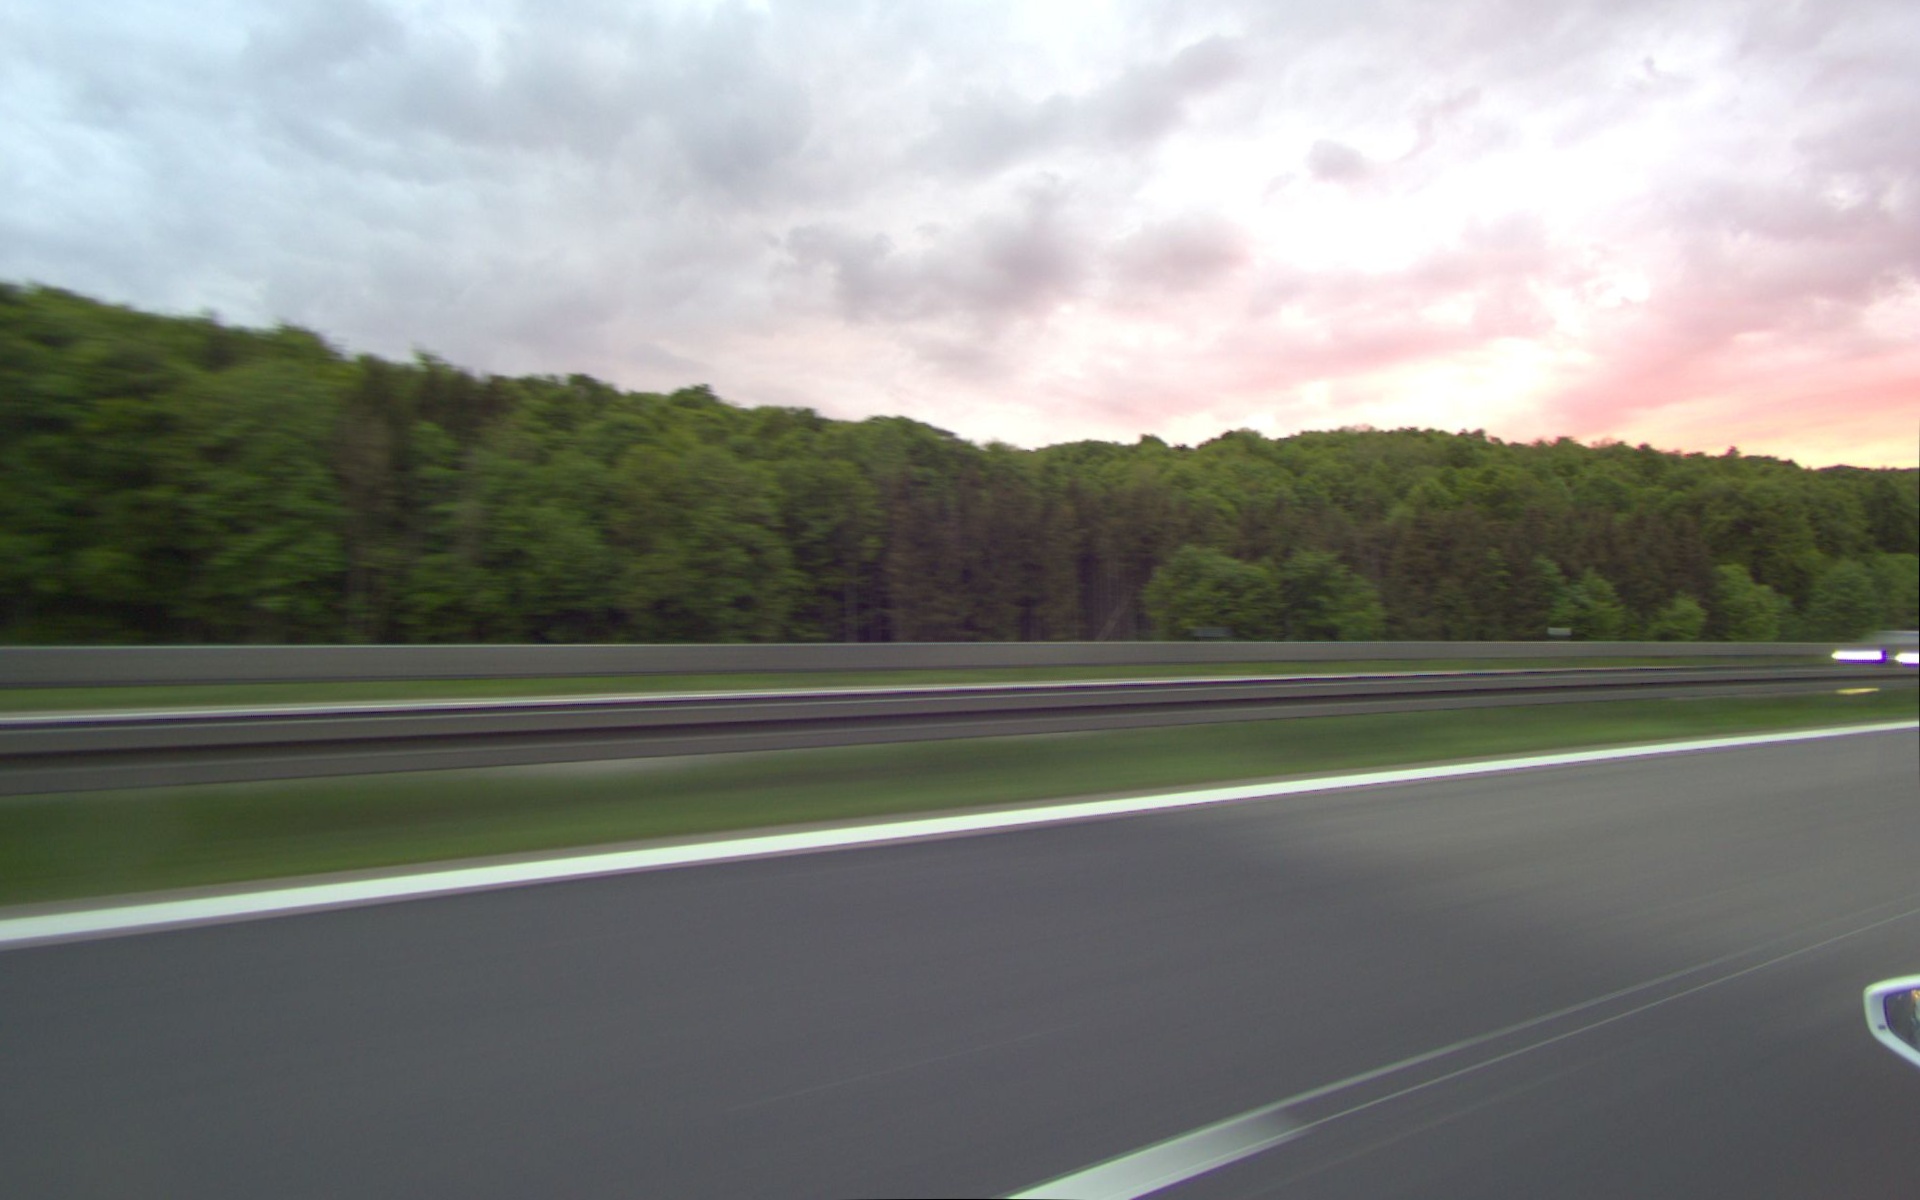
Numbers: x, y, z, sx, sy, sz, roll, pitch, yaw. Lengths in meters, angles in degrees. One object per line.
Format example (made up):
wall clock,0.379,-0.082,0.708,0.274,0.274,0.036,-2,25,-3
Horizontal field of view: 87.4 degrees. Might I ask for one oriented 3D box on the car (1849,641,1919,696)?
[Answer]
car,29.047,2.039,30.336,4.611,1.571,1.649,1,-3,-27
